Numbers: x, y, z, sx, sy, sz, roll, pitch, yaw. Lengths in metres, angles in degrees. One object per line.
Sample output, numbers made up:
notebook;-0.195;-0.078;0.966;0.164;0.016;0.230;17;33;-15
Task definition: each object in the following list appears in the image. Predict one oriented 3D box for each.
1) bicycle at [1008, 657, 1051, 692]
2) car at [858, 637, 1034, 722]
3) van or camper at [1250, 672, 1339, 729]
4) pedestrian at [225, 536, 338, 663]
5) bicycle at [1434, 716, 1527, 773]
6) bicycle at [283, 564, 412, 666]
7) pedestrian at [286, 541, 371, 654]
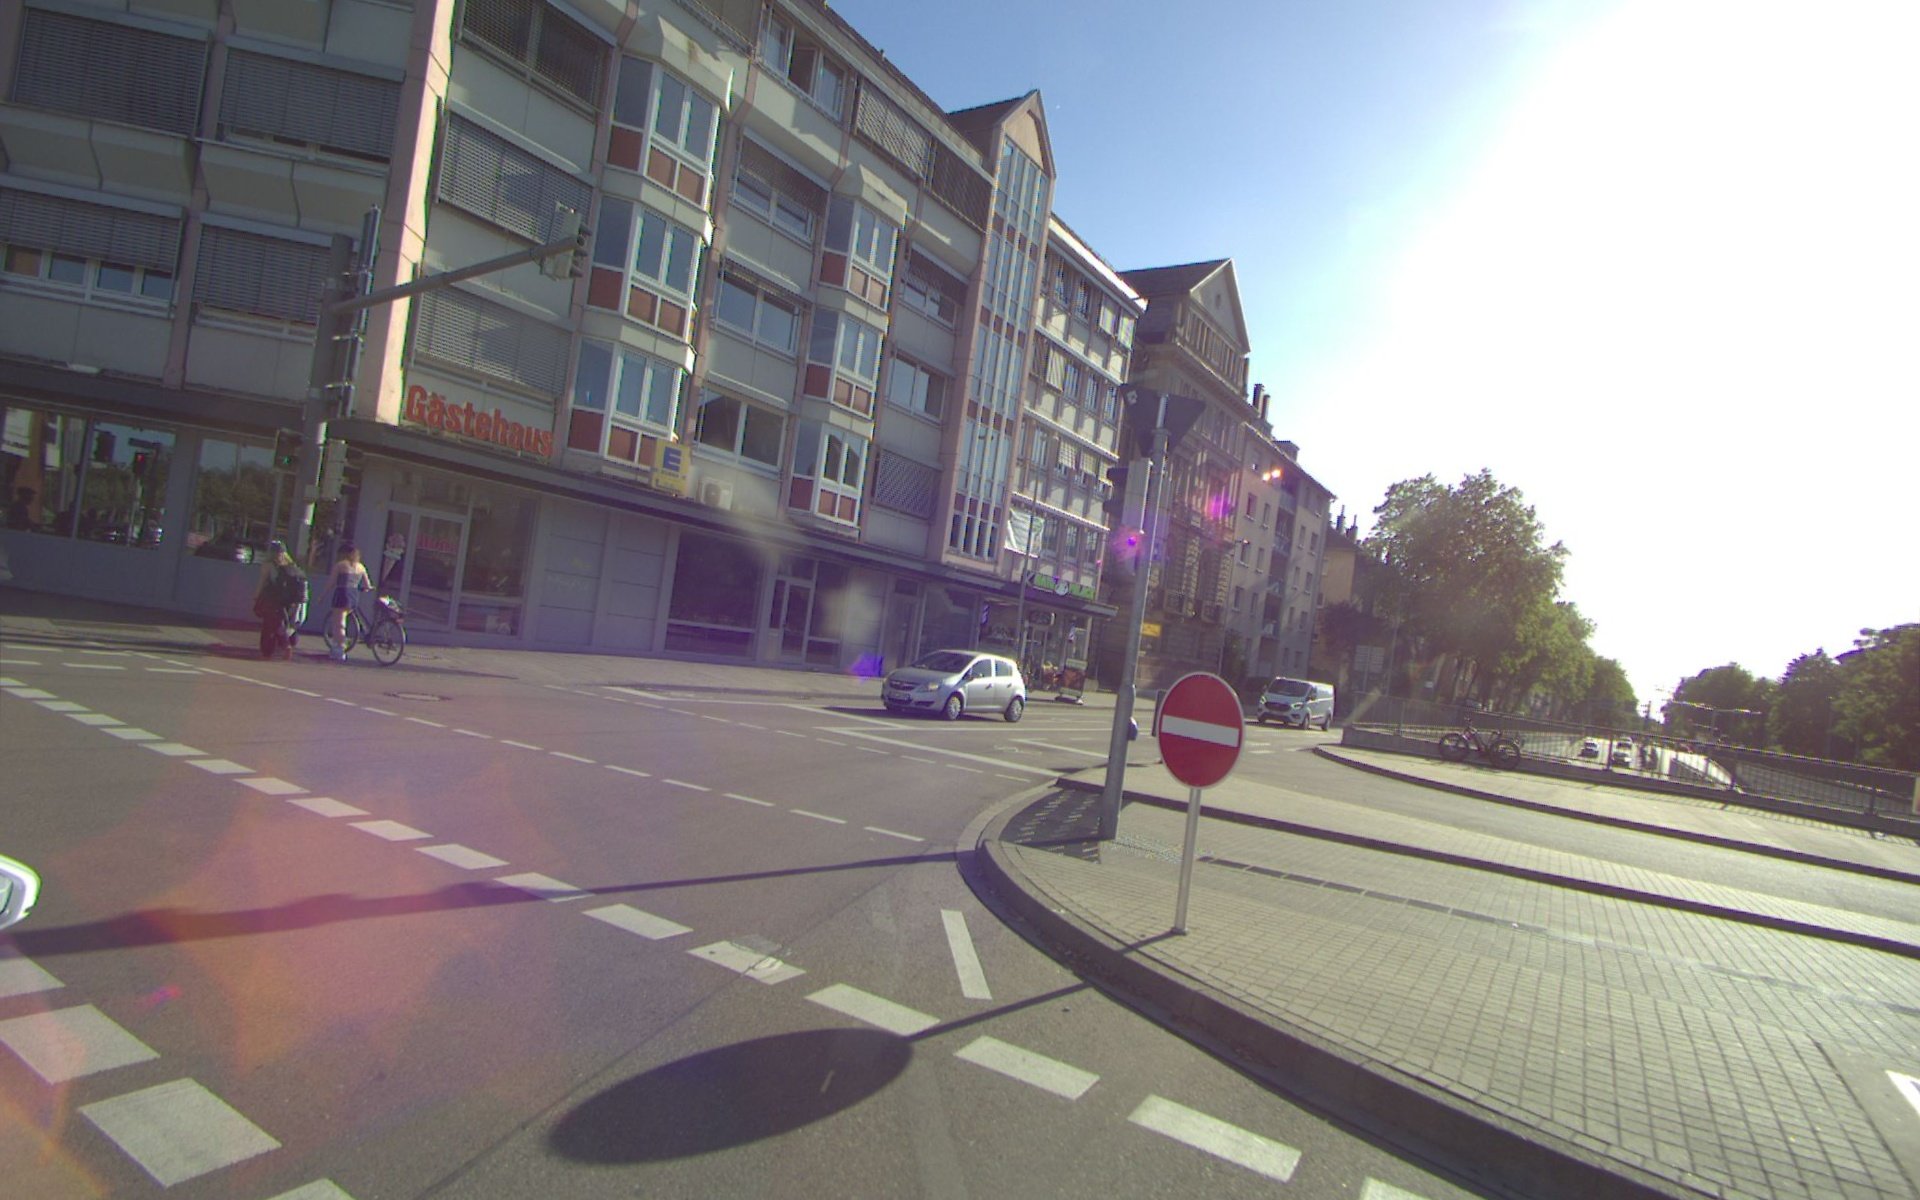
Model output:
bicycle;2.503;2.685;36.151;0.528;1.061;1.971;7;-3;33
car;-0.217;1.765;21.859;1.776;1.447;3.845;5;-4;36
van or camper;14.142;4.273;42.319;2.009;1.974;5.252;8;-2;34
pedestrian;-9.443;0.003;14.010;0.852;1.594;0.782;9;-1;27
bicycle;13.448;3.724;25.997;1.964;1.092;0.596;7;-3;35
bicycle;-9.446;0.225;15.507;1.873;1.299;0.546;8;-2;22
pedestrian;-9.624;-0.037;15.339;0.852;1.572;0.527;8;-2;24
